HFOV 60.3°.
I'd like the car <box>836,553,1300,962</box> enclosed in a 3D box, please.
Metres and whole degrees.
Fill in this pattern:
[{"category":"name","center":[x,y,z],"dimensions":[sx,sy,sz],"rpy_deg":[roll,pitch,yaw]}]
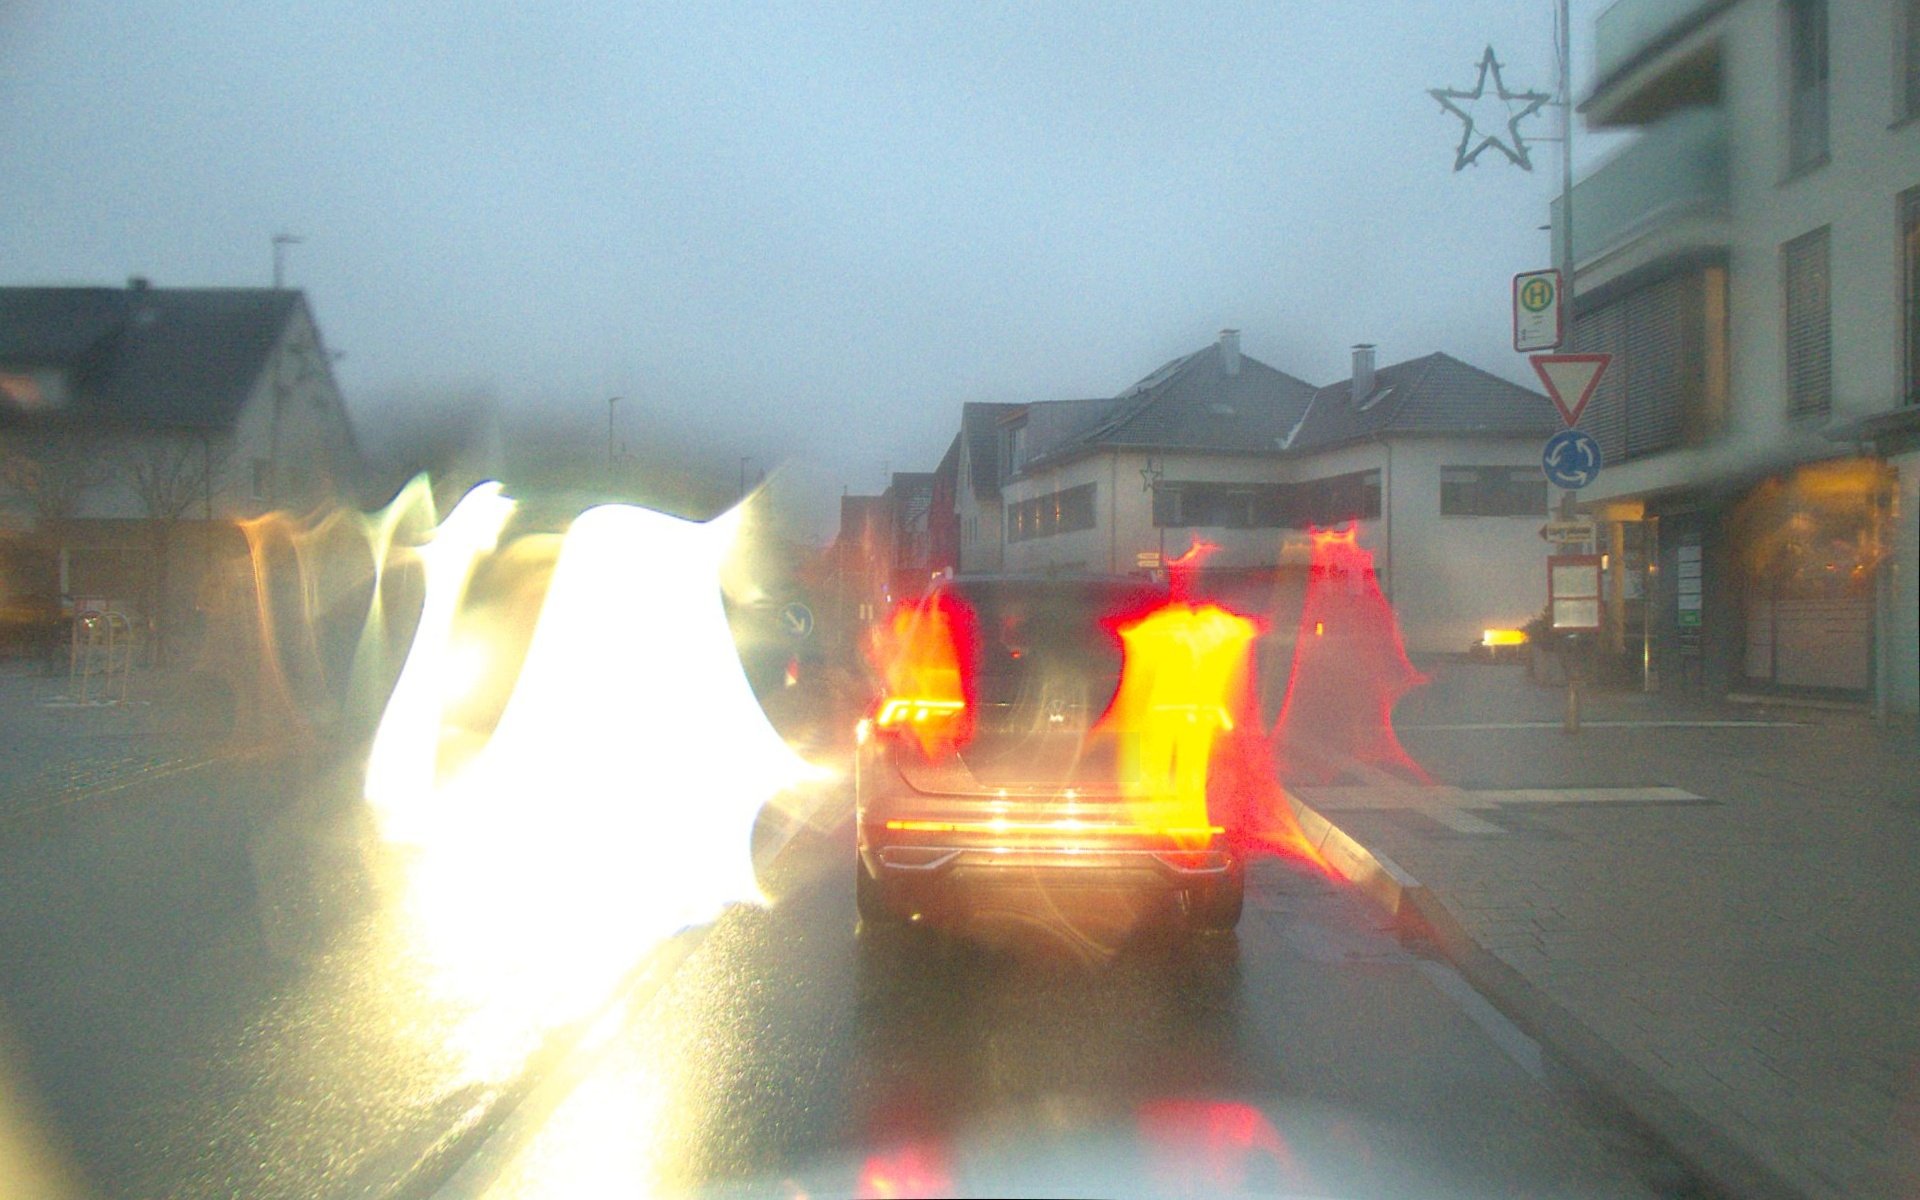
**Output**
[{"category":"car","center":[0.404,0.641,8.735],"dimensions":[1.877,1.643,3.949],"rpy_deg":[1,0,-1]}]

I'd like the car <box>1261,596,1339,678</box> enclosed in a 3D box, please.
[{"category":"car","center":[8.813,0.919,43.102],"dimensions":[1.763,1.894,4.004],"rpy_deg":[-2,1,9]}]

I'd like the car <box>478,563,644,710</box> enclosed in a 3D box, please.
[{"category":"car","center":[-4.917,0.396,20.803],"dimensions":[1.746,1.650,3.948],"rpy_deg":[1,0,-10]}]

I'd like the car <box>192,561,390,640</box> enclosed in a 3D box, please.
[{"category":"car","center":[-18.382,0.006,45.493],"dimensions":[4.780,2.049,2.001],"rpy_deg":[1,0,14]}]

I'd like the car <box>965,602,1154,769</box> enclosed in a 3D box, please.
[{"category":"car","center":[0.962,0.821,17.754],"dimensions":[1.741,1.566,3.932],"rpy_deg":[0,0,-1]}]

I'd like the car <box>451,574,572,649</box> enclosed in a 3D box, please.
[{"category":"car","center":[-11.568,0.283,42.524],"dimensions":[1.705,1.844,4.085],"rpy_deg":[1,0,-35]}]

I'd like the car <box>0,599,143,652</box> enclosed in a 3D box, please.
[{"category":"car","center":[-25.572,0.739,47.054],"dimensions":[3.747,1.447,1.716],"rpy_deg":[0,-2,3]}]

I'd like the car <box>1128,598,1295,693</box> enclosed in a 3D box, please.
[{"category":"car","center":[5.143,0.871,33.402],"dimensions":[1.789,1.656,3.988],"rpy_deg":[-1,1,34]}]
